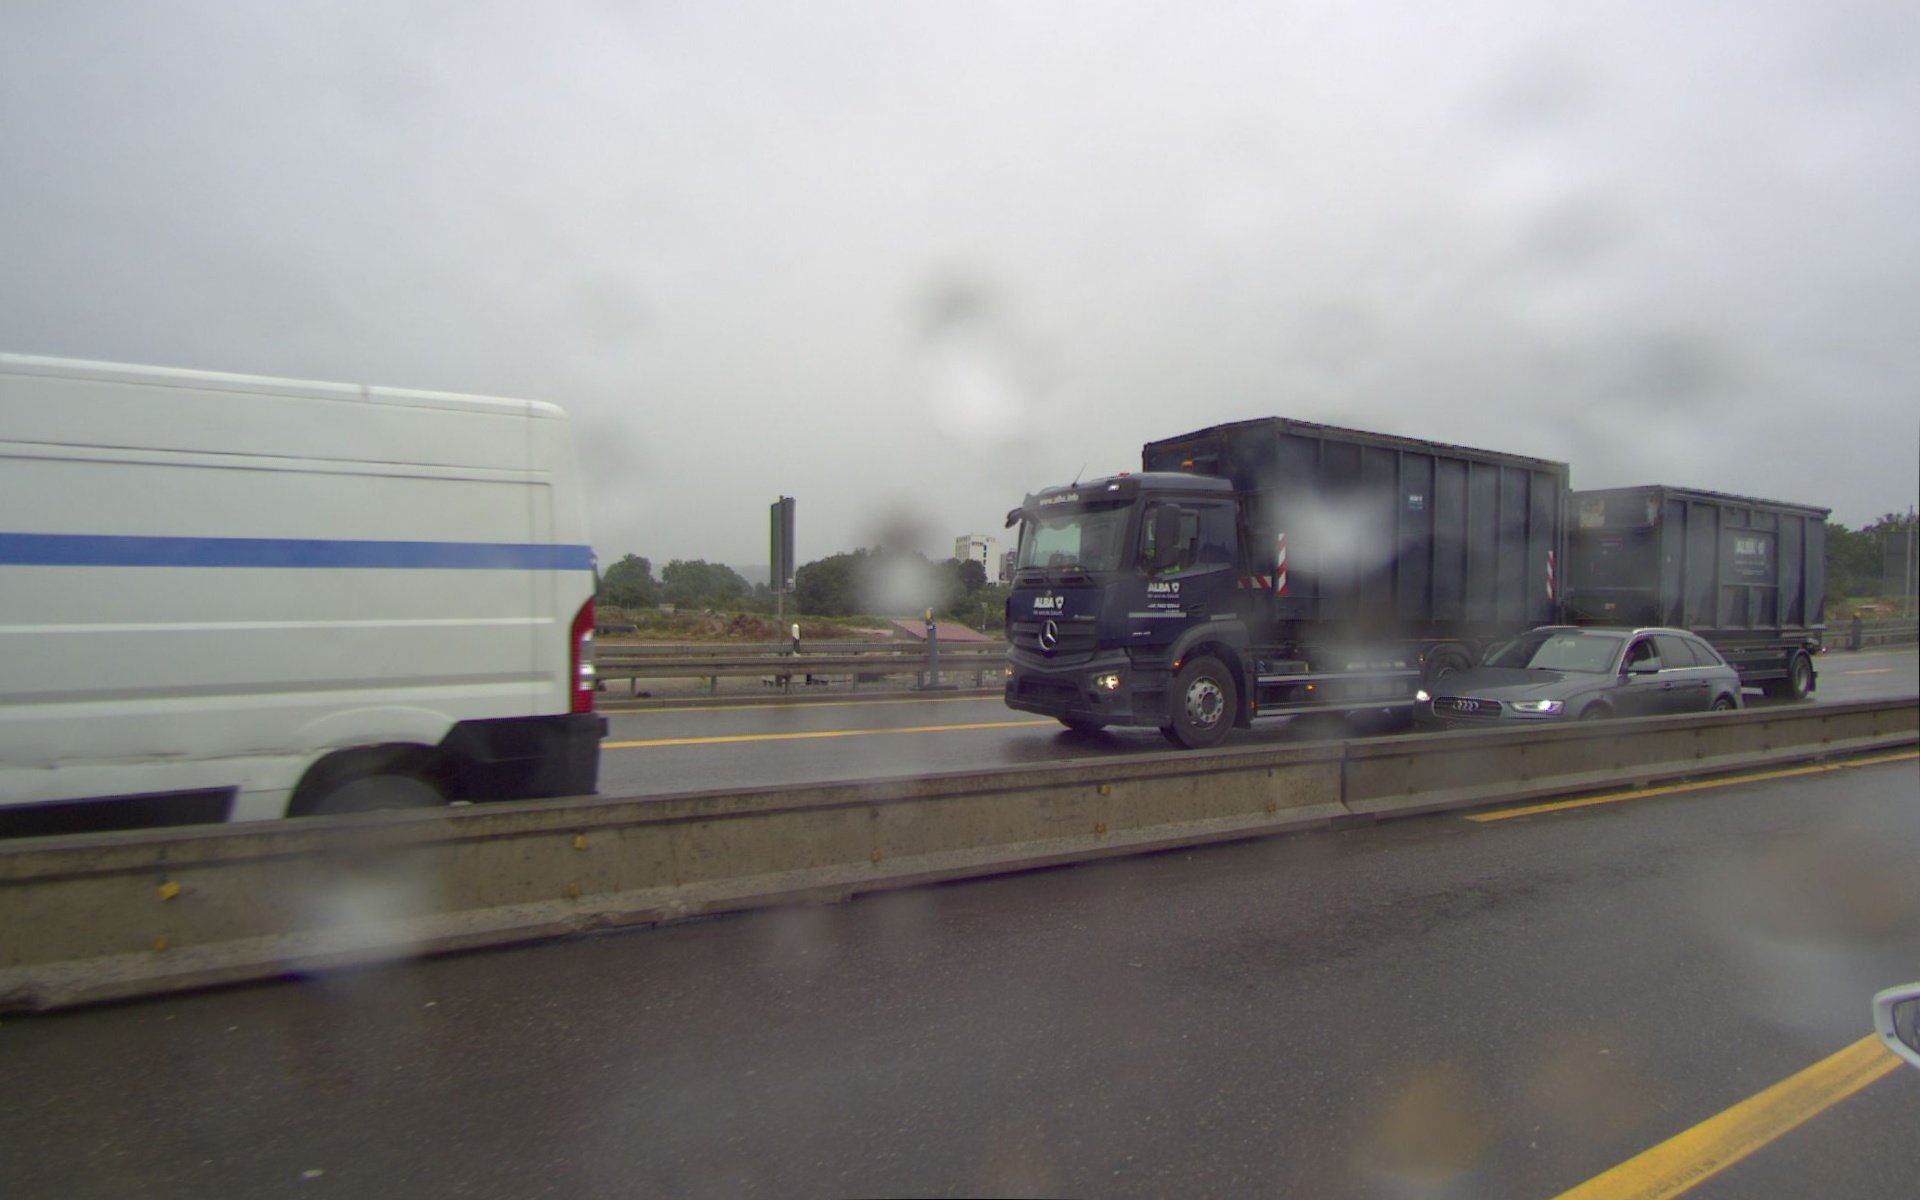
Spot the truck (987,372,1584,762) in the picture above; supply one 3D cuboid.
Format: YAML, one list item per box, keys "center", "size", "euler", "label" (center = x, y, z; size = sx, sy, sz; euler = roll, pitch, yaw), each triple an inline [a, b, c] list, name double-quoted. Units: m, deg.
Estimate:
- center: [4.897, -0.267, 13.921]
  size: [9.110, 4.023, 2.627]
  euler: [1, 0, -32]
  label: "truck"

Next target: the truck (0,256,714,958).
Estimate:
- center: [-4.437, 0.023, 4.780]
  size: [5.948, 2.749, 2.136]
  euler: [2, -1, -32]
  label: "truck"

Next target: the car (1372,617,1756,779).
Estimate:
- center: [6.958, 0.990, 11.436]
  size: [4.618, 1.491, 1.859]
  euler: [2, -1, -32]
  label: "car"

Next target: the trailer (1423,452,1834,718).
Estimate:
- center: [12.854, -0.145, 18.892]
  size: [9.566, 4.023, 2.731]
  euler: [1, 0, -32]
  label: "trailer"
